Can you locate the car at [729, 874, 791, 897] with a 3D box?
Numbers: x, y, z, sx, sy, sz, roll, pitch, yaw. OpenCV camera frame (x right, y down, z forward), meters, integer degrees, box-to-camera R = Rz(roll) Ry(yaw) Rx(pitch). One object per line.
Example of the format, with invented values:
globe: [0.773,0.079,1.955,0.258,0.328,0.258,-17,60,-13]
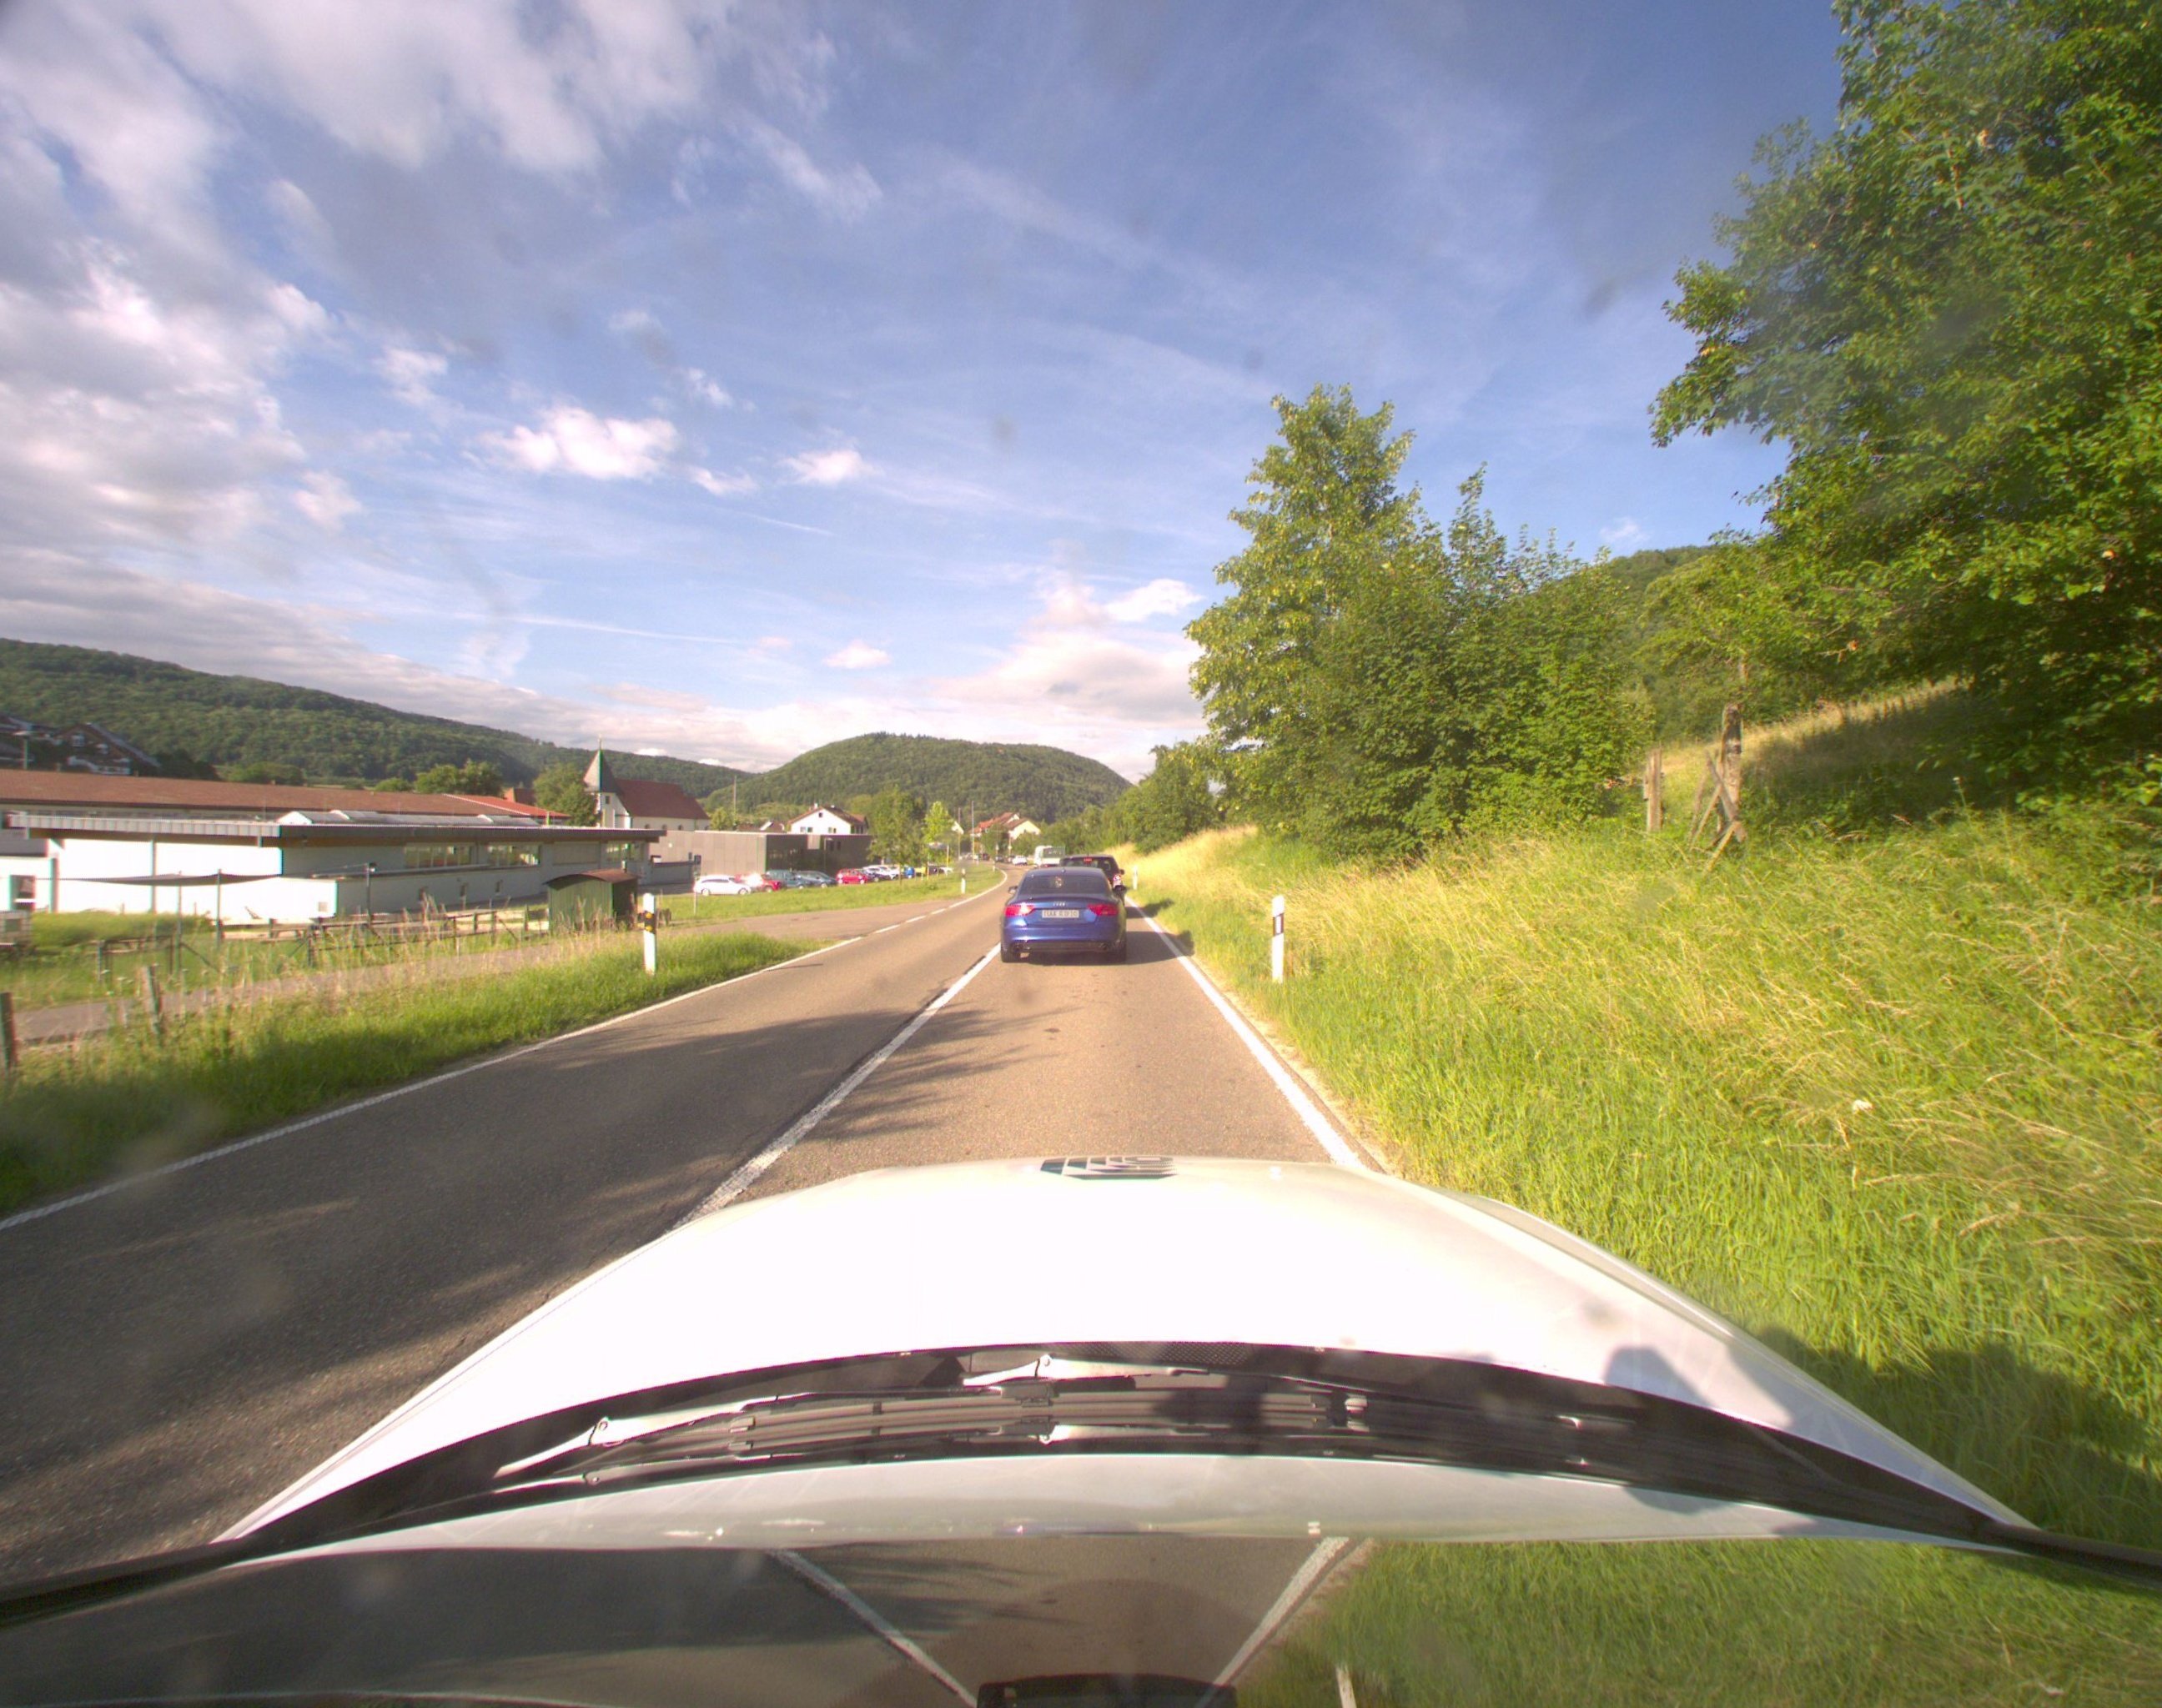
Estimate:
car: [-25.097,2.440,63.768,3.975,1.711,1.999,0,-1,-1]

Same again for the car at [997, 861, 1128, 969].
car: [-0.157,0.839,12.821,1.747,1.430,3.849,0,-1,3]

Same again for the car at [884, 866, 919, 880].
car: [-22.382,2.412,101.614,3.975,1.711,1.999,0,-1,-1]

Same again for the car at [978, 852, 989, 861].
car: [-19.901,0.548,166.184,1.848,1.712,3.980,0,-1,-14]

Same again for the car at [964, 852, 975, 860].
car: [-25.078,0.481,183.485,1.849,1.712,3.978,0,-1,-16]

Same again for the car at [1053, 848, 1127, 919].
car: [0.309,0.724,21.461,1.747,1.681,3.849,0,-1,3]

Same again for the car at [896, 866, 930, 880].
car: [-21.462,2.434,104.267,3.975,1.711,1.999,0,-1,-1]

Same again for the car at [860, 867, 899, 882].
car: [-22.850,2.318,92.548,3.975,1.711,1.999,0,-1,-1]

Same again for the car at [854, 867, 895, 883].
car: [-22.497,2.275,88.880,3.975,1.711,1.999,0,-1,-1]

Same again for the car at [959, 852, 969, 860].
car: [-27.443,0.490,191.052,1.850,1.712,3.977,0,-1,-17]

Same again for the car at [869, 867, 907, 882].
car: [-22.637,2.352,95.830,3.975,1.711,1.999,0,-1,-1]

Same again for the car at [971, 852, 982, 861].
car: [-22.589,0.562,175.682,1.849,1.712,3.978,0,-1,-16]

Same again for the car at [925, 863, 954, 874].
car: [-20.605,2.142,118.824,3.975,1.579,1.752,0,-1,-1]

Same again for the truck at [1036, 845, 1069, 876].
truck: [-2.539,0.554,71.407,2.229,2.570,6.085,0,-1,-8]

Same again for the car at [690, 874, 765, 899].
car: [-26.326,2.417,60.789,4.716,1.711,1.999,0,-1,-1]

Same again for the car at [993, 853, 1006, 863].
car: [-14.808,0.795,147.778,1.847,1.712,3.982,0,-1,-13]

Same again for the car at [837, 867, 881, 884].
car: [-22.949,2.229,84.340,3.975,1.711,1.999,0,-1,-1]

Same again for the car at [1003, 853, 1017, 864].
car: [-11.541,0.769,132.278,1.847,1.712,3.982,0,-1,-13]

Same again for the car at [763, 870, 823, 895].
car: [-24.587,2.431,69.570,4.393,2.008,1.999,0,-1,-1]

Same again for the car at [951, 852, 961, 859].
car: [-30.419,0.291,198.793,1.850,1.712,3.976,0,-1,-18]

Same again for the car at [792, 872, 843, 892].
car: [-23.964,2.543,74.059,3.975,1.711,1.999,0,-1,-1]

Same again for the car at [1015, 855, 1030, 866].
car: [-8.706,0.973,120.332,1.845,1.482,3.987,0,-1,-9]

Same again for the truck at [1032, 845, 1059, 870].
truck: [-3.820,0.399,86.589,2.229,2.570,6.687,0,-1,-8]
